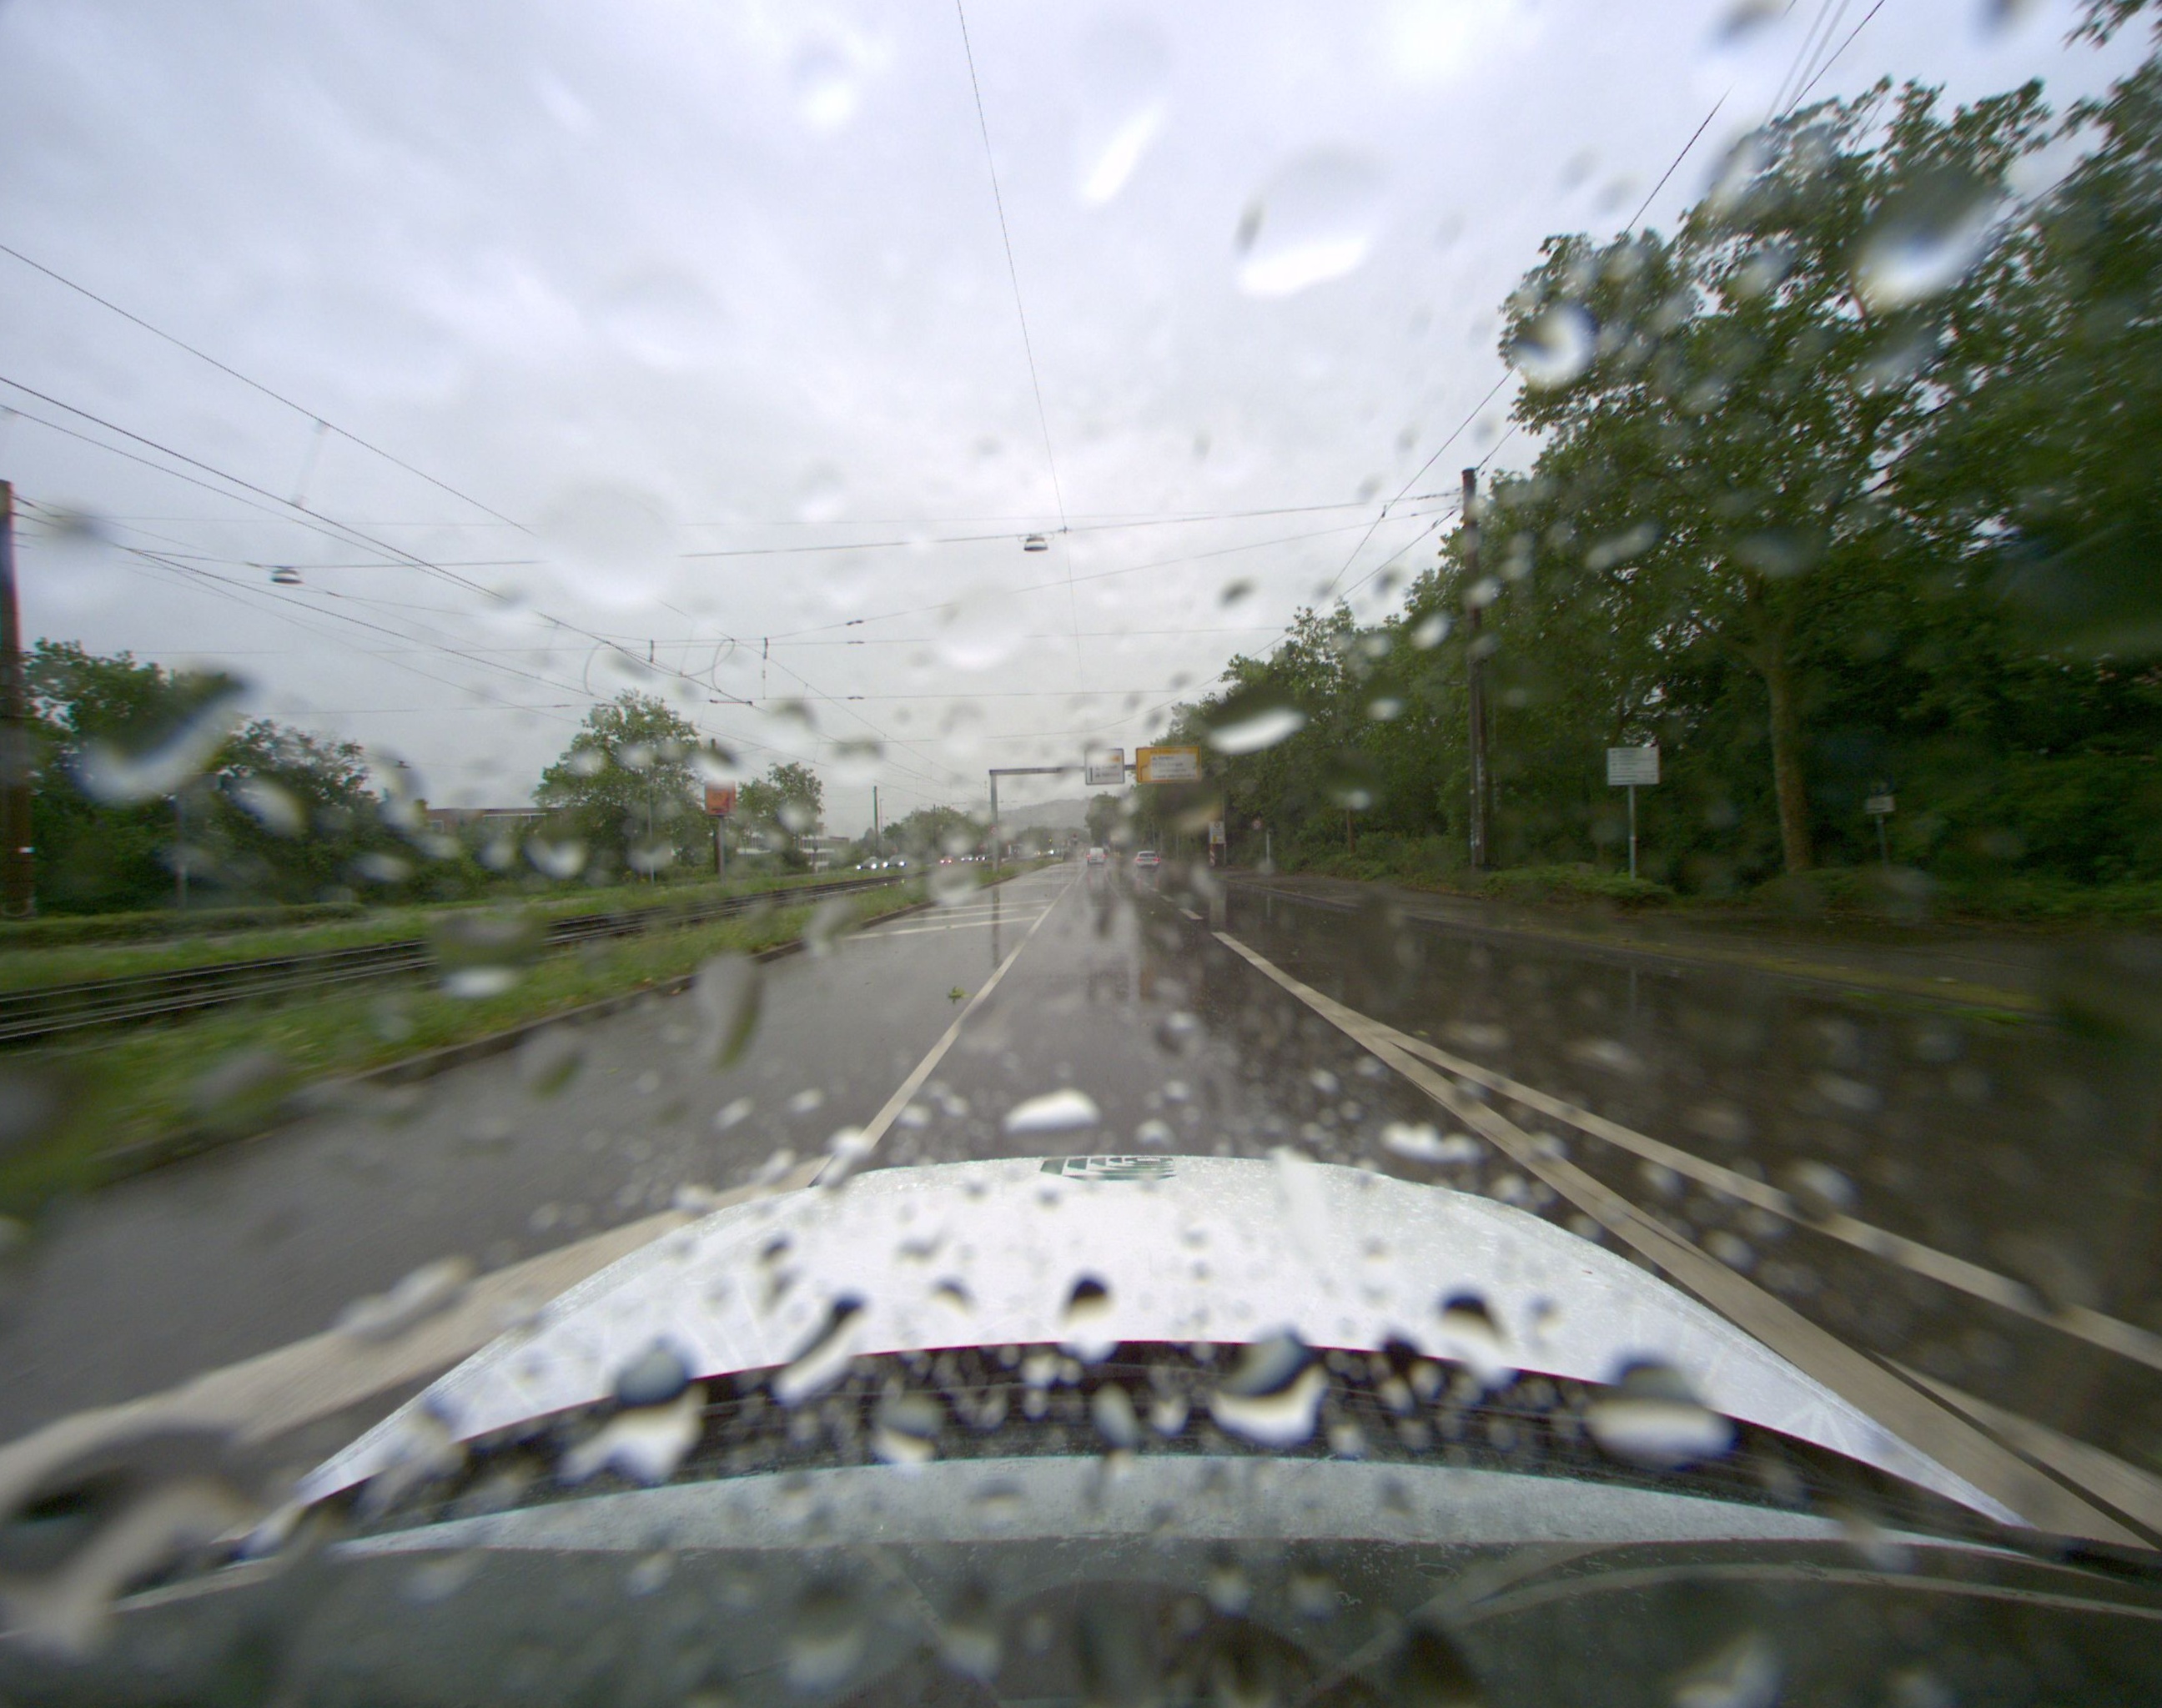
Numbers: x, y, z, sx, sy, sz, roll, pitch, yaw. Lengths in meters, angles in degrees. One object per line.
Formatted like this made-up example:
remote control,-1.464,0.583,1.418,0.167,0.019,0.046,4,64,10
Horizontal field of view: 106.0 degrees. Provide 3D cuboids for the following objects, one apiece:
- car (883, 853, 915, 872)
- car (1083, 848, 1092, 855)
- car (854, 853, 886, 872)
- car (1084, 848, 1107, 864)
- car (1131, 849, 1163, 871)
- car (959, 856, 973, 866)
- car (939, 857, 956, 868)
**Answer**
car,-16.678,0.730,74.895,1.939,1.616,4.984,-2,0,-3
car,1.454,-0.494,181.668,1.987,1.547,4.000,0,0,0
car,-20.019,0.739,77.437,1.938,1.686,4.776,-2,0,-2
car,1.394,0.179,78.357,2.070,1.420,4.001,-2,0,1
car,4.825,0.410,59.853,1.942,1.536,4.466,-1,0,0
car,-19.830,1.189,140.805,1.715,1.494,4.000,-2,0,0
car,-19.743,1.260,120.647,1.715,1.494,4.000,-2,0,0
